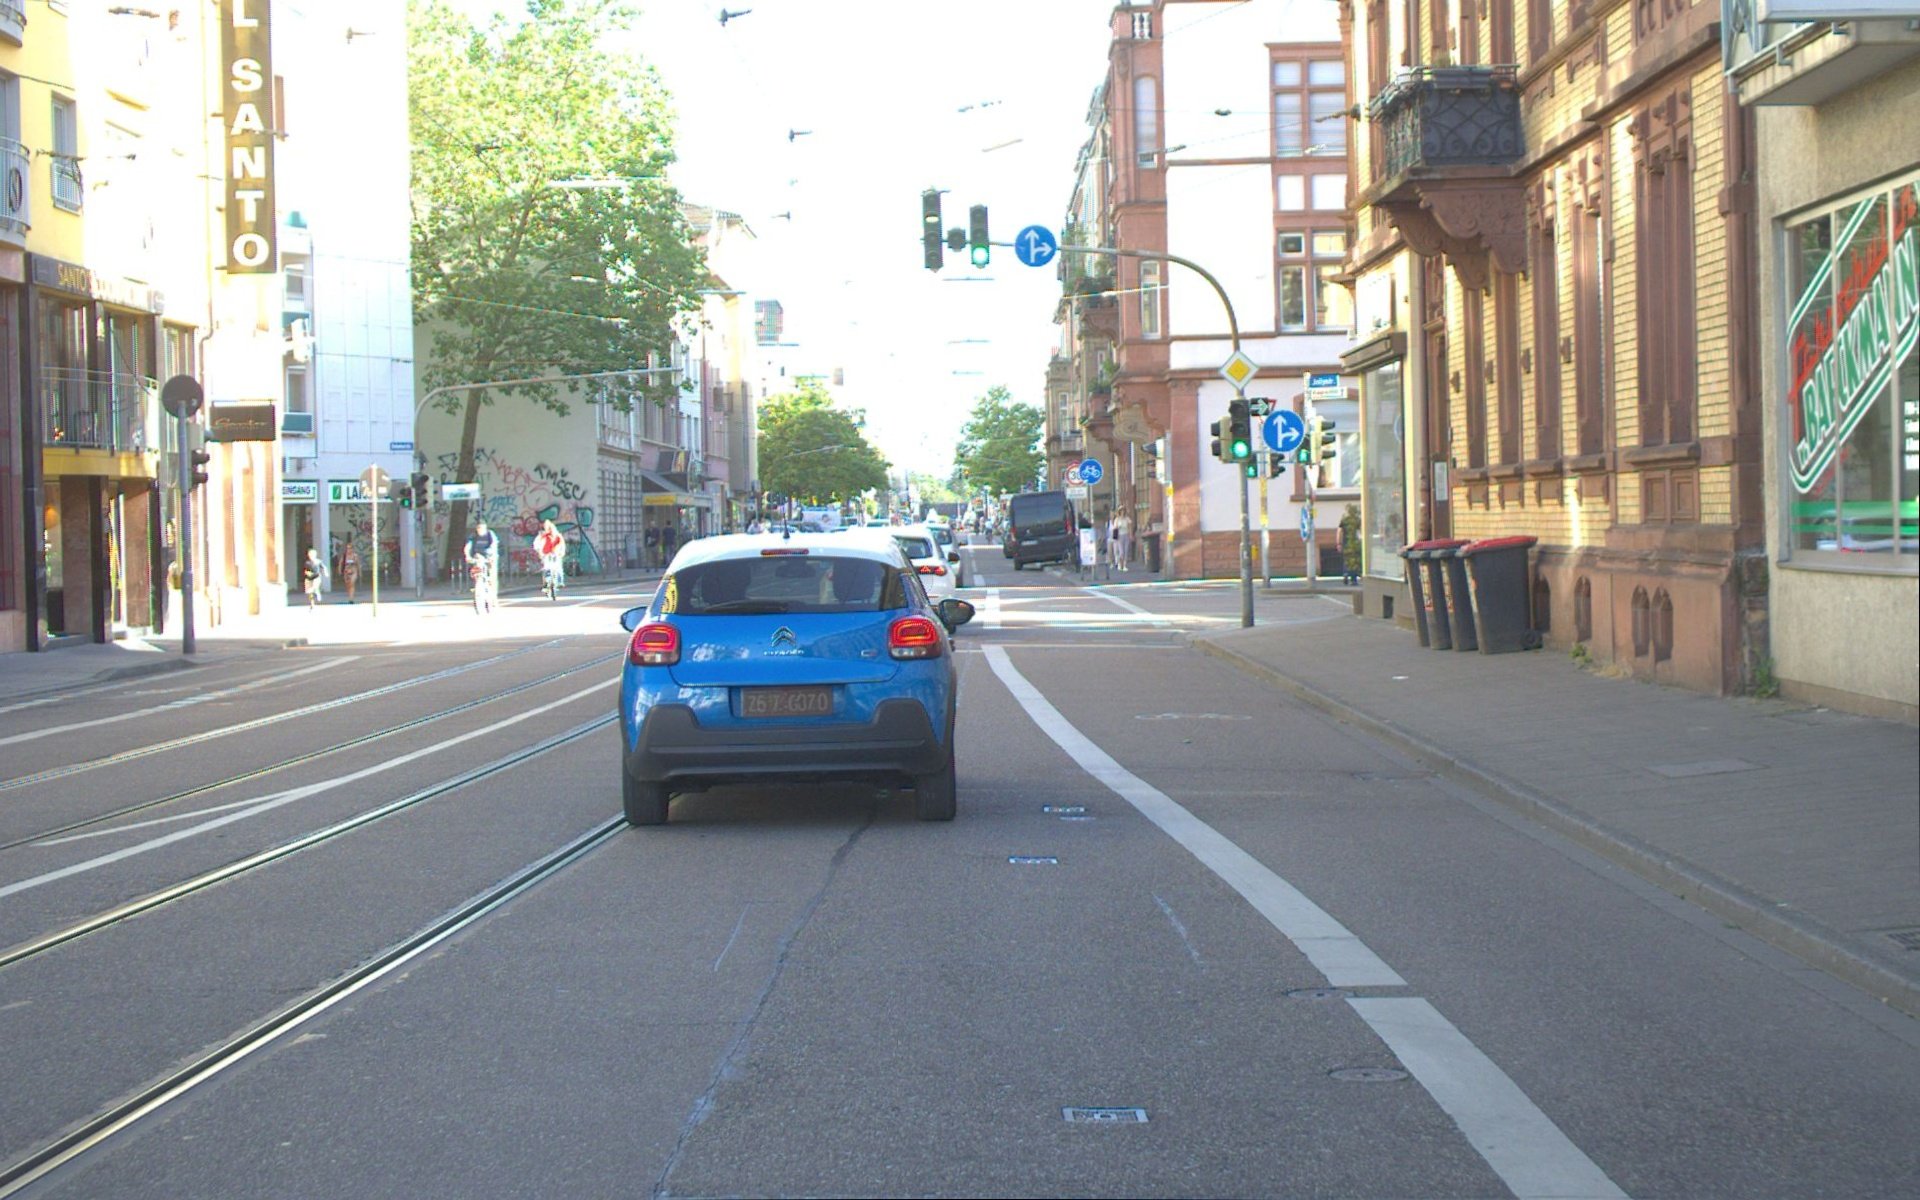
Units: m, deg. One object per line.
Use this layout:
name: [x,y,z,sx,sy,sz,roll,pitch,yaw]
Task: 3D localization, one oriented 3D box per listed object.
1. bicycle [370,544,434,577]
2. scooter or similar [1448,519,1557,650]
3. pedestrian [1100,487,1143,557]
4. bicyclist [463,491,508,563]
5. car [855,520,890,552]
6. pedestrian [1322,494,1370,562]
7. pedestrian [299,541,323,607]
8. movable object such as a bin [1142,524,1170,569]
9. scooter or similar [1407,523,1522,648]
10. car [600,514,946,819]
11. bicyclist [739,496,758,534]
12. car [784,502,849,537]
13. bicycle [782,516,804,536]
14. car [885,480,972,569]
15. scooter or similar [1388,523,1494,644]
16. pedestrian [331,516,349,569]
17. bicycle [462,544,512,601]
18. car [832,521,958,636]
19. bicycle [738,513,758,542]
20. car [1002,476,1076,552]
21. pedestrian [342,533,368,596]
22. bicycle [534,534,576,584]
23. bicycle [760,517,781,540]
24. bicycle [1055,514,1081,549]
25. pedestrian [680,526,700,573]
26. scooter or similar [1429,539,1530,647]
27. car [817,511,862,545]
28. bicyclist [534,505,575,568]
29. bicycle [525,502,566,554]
bicycle: [-17.440,-1.235,107.497,1.918,1.031,0.664,0,1,26]
scooter or similar: [5.104,-0.151,32.385,0.790,1.144,0.790,-5,2,-1]
pedestrian: [4.357,-2.112,92.777,0.705,1.775,0.673,-14,2,-1]
bicyclist: [-9.310,-1.436,67.468,0.724,1.376,1.228,-1,2,-1]
car: [-5.061,-3.713,199.553,1.993,1.738,4.563,-1,2,-1]
pedestrian: [8.393,-1.559,74.658,0.938,1.451,0.822,-1,2,12]
pedestrian: [-13.793,-0.557,73.023,0.404,1.405,0.516,-1,1,-1]
movable object such as a bin: [5.072,-1.382,89.079,0.666,1.149,0.594,-1,1,0]
scooter or similar: [4.998,-0.148,34.067,0.933,1.144,0.650,-5,2,-1]
car: [-0.928,0.293,18.737,1.674,1.472,4.000,0,1,0]
bicyclist: [-8.318,-3.338,134.983,0.682,1.478,0.778,-1,2,-1]
car: [-10.674,-5.980,255.943,4.307,2.572,2.210,-2,1,-25]
bicycle: [-10.037,-4.469,206.832,1.120,1.142,3.645,-2,2,-5]
car: [-0.771,-1.825,82.191,1.993,2.006,4.001,-2,2,-1]
scooter or similar: [4.906,-0.174,35.088,0.897,1.144,0.547,-5,2,-1]
pedestrian: [-20.481,-1.905,113.626,0.456,1.712,0.547,-2,2,-1]
bicycle: [-9.325,-0.548,67.811,0.730,1.084,2.062,-1,1,-1]
car: [-0.916,-0.334,48.406,1.667,1.473,4.001,-2,2,-1]
bicycle: [-8.332,-2.849,135.255,0.692,1.116,2.084,-1,2,-1]
car: [2.616,-2.890,115.123,2.271,2.428,5.720,-1,2,0]
pedestrian: [-15.146,-0.891,86.105,0.542,1.547,0.516,-1,1,-1]
bicycle: [-9.054,-0.928,76.899,0.730,1.062,2.062,-1,2,-1]
bicycle: [-11.415,-4.328,206.953,1.120,1.315,3.645,-2,2,-5]
bicycle: [2.974,-1.880,94.798,0.431,0.944,1.764,-1,1,-7]
pedestrian: [-10.366,-1.936,131.965,0.710,1.758,0.570,-2,2,-1]
scooter or similar: [5.028,-0.073,33.301,0.790,0.954,0.680,-5,2,-1]
car: [-5.603,-3.364,160.096,1.985,1.497,4.309,-1,1,-1]
bicyclist: [-9.062,-1.433,76.870,0.735,1.376,1.469,-1,2,-1]
bicycle: [-9.564,-1.672,79.317,0.730,1.179,2.062,-1,1,-1]
